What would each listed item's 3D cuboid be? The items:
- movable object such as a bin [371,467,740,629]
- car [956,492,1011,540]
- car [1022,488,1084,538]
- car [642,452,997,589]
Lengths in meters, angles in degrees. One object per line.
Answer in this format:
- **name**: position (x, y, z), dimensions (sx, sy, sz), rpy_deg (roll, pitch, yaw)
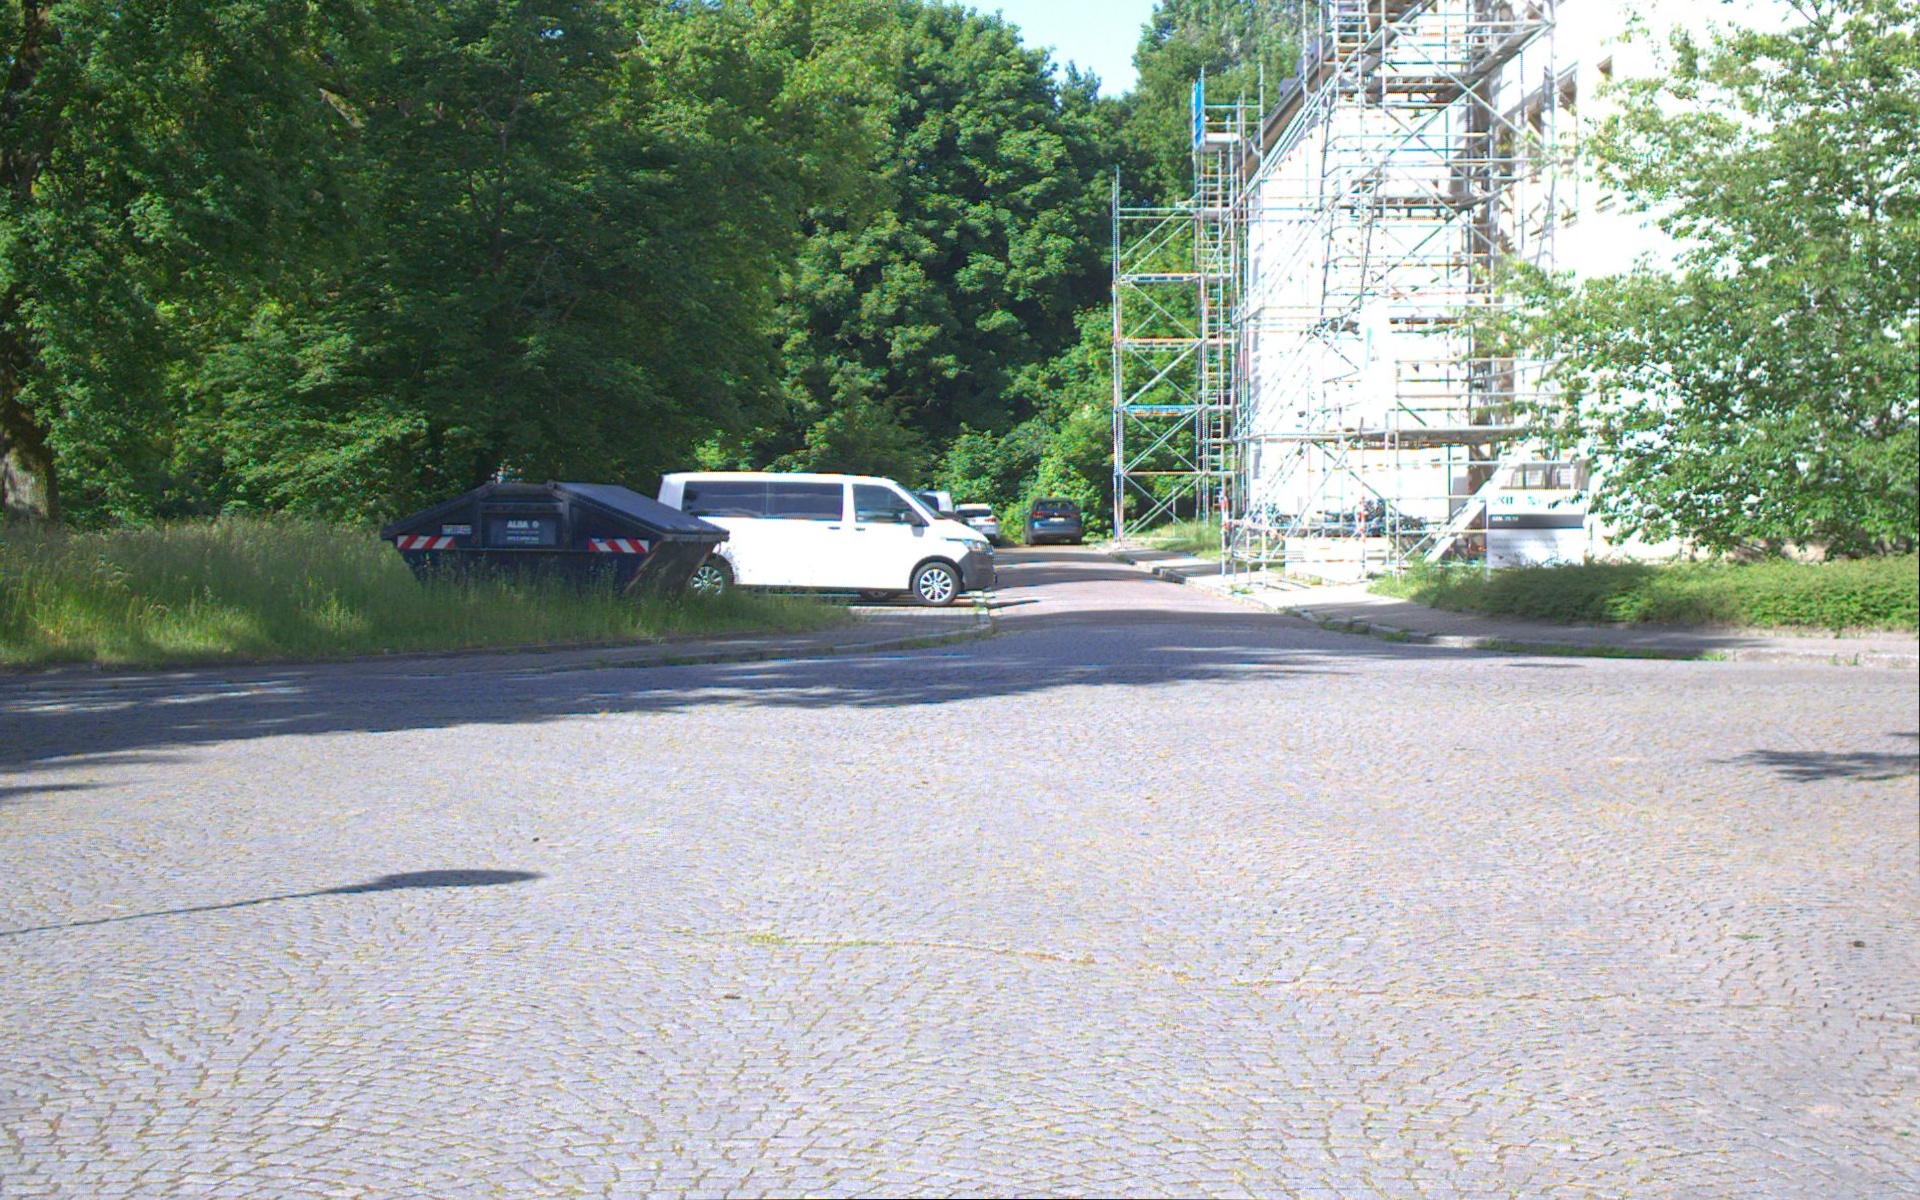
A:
- **movable object such as a bin**: position (-4.531, -0.588, 38.697), dimensions (3.569, 1.738, 2.023), rpy_deg (0, 2, 19)
- **car**: position (0.776, -2.891, 117.740), dimensions (1.812, 1.574, 4.135), rpy_deg (-1, 2, 0)
- **car**: position (3.181, -2.983, 118.019), dimensions (1.971, 1.662, 4.086), rpy_deg (-1, 2, 0)
- **car**: position (-2.073, -1.200, 51.764), dimensions (5.234, 2.009, 1.950), rpy_deg (0, 2, 0)
